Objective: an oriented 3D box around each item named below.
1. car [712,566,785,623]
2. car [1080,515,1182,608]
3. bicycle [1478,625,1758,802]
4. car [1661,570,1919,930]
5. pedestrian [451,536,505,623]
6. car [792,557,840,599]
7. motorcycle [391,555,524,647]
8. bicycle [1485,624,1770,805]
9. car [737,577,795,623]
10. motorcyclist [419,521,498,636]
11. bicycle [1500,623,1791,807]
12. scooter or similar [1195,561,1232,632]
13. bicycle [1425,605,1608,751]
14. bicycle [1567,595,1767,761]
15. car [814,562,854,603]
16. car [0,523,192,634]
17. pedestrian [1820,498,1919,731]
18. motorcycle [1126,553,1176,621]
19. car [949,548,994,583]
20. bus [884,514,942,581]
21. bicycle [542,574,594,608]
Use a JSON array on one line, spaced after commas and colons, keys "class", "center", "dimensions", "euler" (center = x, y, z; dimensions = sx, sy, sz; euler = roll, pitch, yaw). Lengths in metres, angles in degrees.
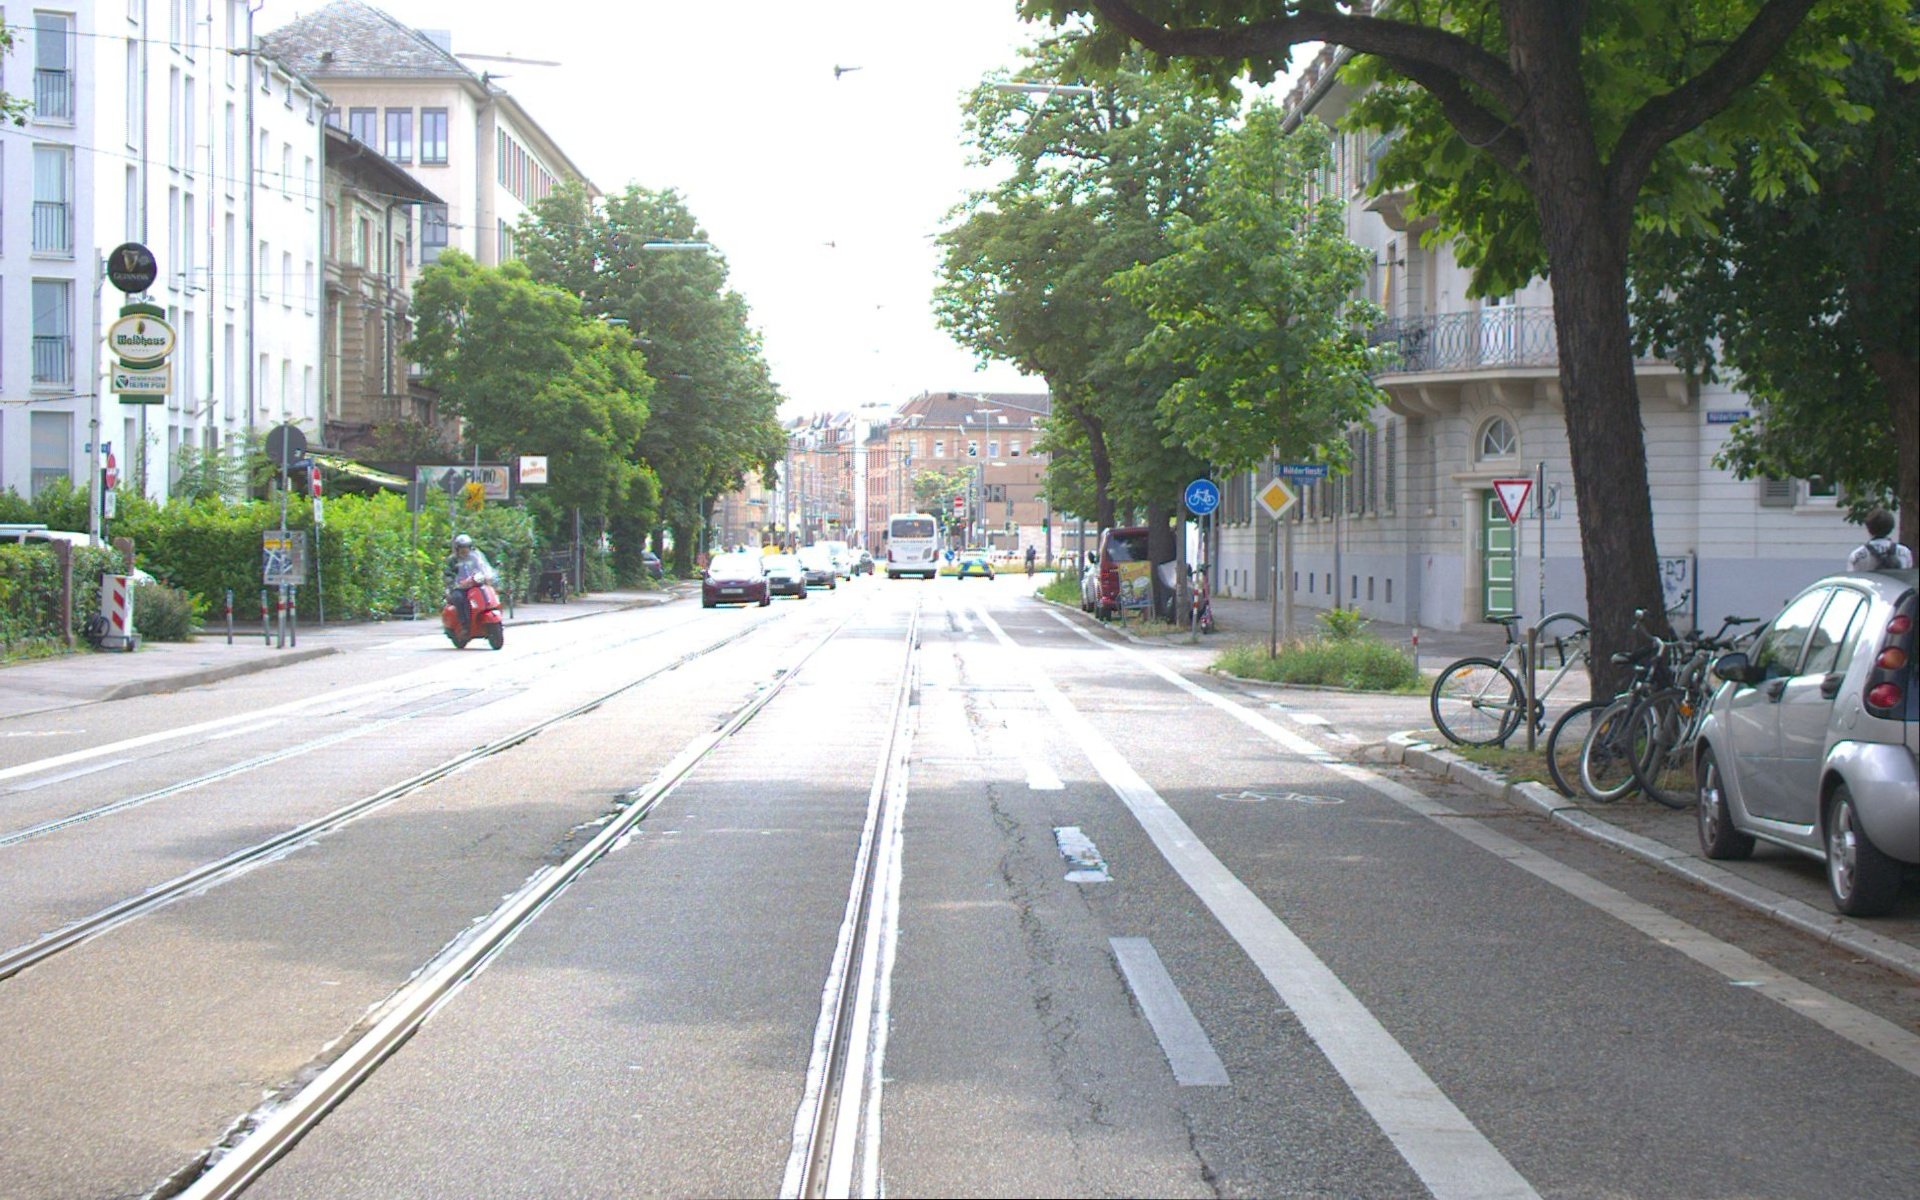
[{"class": "car", "center": [-5.637, -0.170, 92.096], "dimensions": [1.594, 1.435, 3.936], "euler": [-1, 1, 1]}, {"class": "car", "center": [3.673, -0.832, 74.498], "dimensions": [1.895, 1.934, 4.951], "euler": [0, 1, -1]}, {"class": "bicycle", "center": [4.023, 0.691, 21.072], "dimensions": [1.647, 1.067, 0.348], "euler": [0, 1, 4]}, {"class": "car", "center": [4.447, 0.591, 15.858], "dimensions": [1.585, 1.440, 3.898], "euler": [0, 1, -1]}, {"class": "pedestrian", "center": [-10.571, -0.453, 75.384], "dimensions": [1.059, 1.911, 0.829], "euler": [0, 0, 1]}, {"class": "car", "center": [-5.419, -0.827, 129.682], "dimensions": [1.727, 1.535, 4.277], "euler": [-1, 1, -1]}, {"class": "motorcycle", "center": [-7.579, 0.005, 51.847], "dimensions": [2.086, 1.355, 0.740], "euler": [0, 1, 37]}, {"class": "bicycle", "center": [4.005, 0.681, 20.685], "dimensions": [1.647, 1.067, 0.348], "euler": [0, 1, 4]}, {"class": "car", "center": [-6.069, -0.012, 107.838], "dimensions": [1.628, 1.402, 4.129], "euler": [0, 1, 0]}, {"class": "motorcyclist", "center": [-7.563, -0.323, 51.836], "dimensions": [0.920, 1.708, 0.740], "euler": [0, 1, 37]}, {"class": "bicycle", "center": [4.043, 0.676, 20.323], "dimensions": [1.647, 1.067, 0.348], "euler": [0, 1, 3]}, {"class": "scooter or similar", "center": [4.577, -0.071, 62.211], "dimensions": [0.532, 1.247, 1.720], "euler": [-1, 0, 0]}, {"class": "bicycle", "center": [4.106, 0.572, 25.408], "dimensions": [1.268, 1.062, 0.478], "euler": [0, 1, -1]}, {"class": "bicycle", "center": [5.192, 0.550, 25.364], "dimensions": [0.584, 1.154, 1.837], "euler": [0, 1, -19]}, {"class": "car", "center": [-6.053, -0.863, 165.403], "dimensions": [1.897, 1.901, 5.384], "euler": [0, 1, -2]}, {"class": "car", "center": [-16.979, -0.397, 64.010], "dimensions": [4.935, 2.007, 2.048], "euler": [0, 1, 22]}, {"class": "pedestrian", "center": [7.342, 0.107, 27.520], "dimensions": [0.617, 1.827, 1.030], "euler": [0, 1, -2]}, {"class": "motorcycle", "center": [3.793, -0.262, 68.404], "dimensions": [0.857, 1.317, 2.445], "euler": [0, 1, 0]}, {"class": "car", "center": [0.569, -1.768, 176.520], "dimensions": [2.130, 1.678, 4.103], "euler": [1, 1, -2]}, {"class": "bus", "center": [-2.524, -2.718, 181.864], "dimensions": [2.917, 3.317, 12.206], "euler": [1, 0, -1]}, {"class": "bicycle", "center": [-11.274, -0.276, 98.992], "dimensions": [1.142, 0.905, 2.989], "euler": [3, 1, 0]}]
